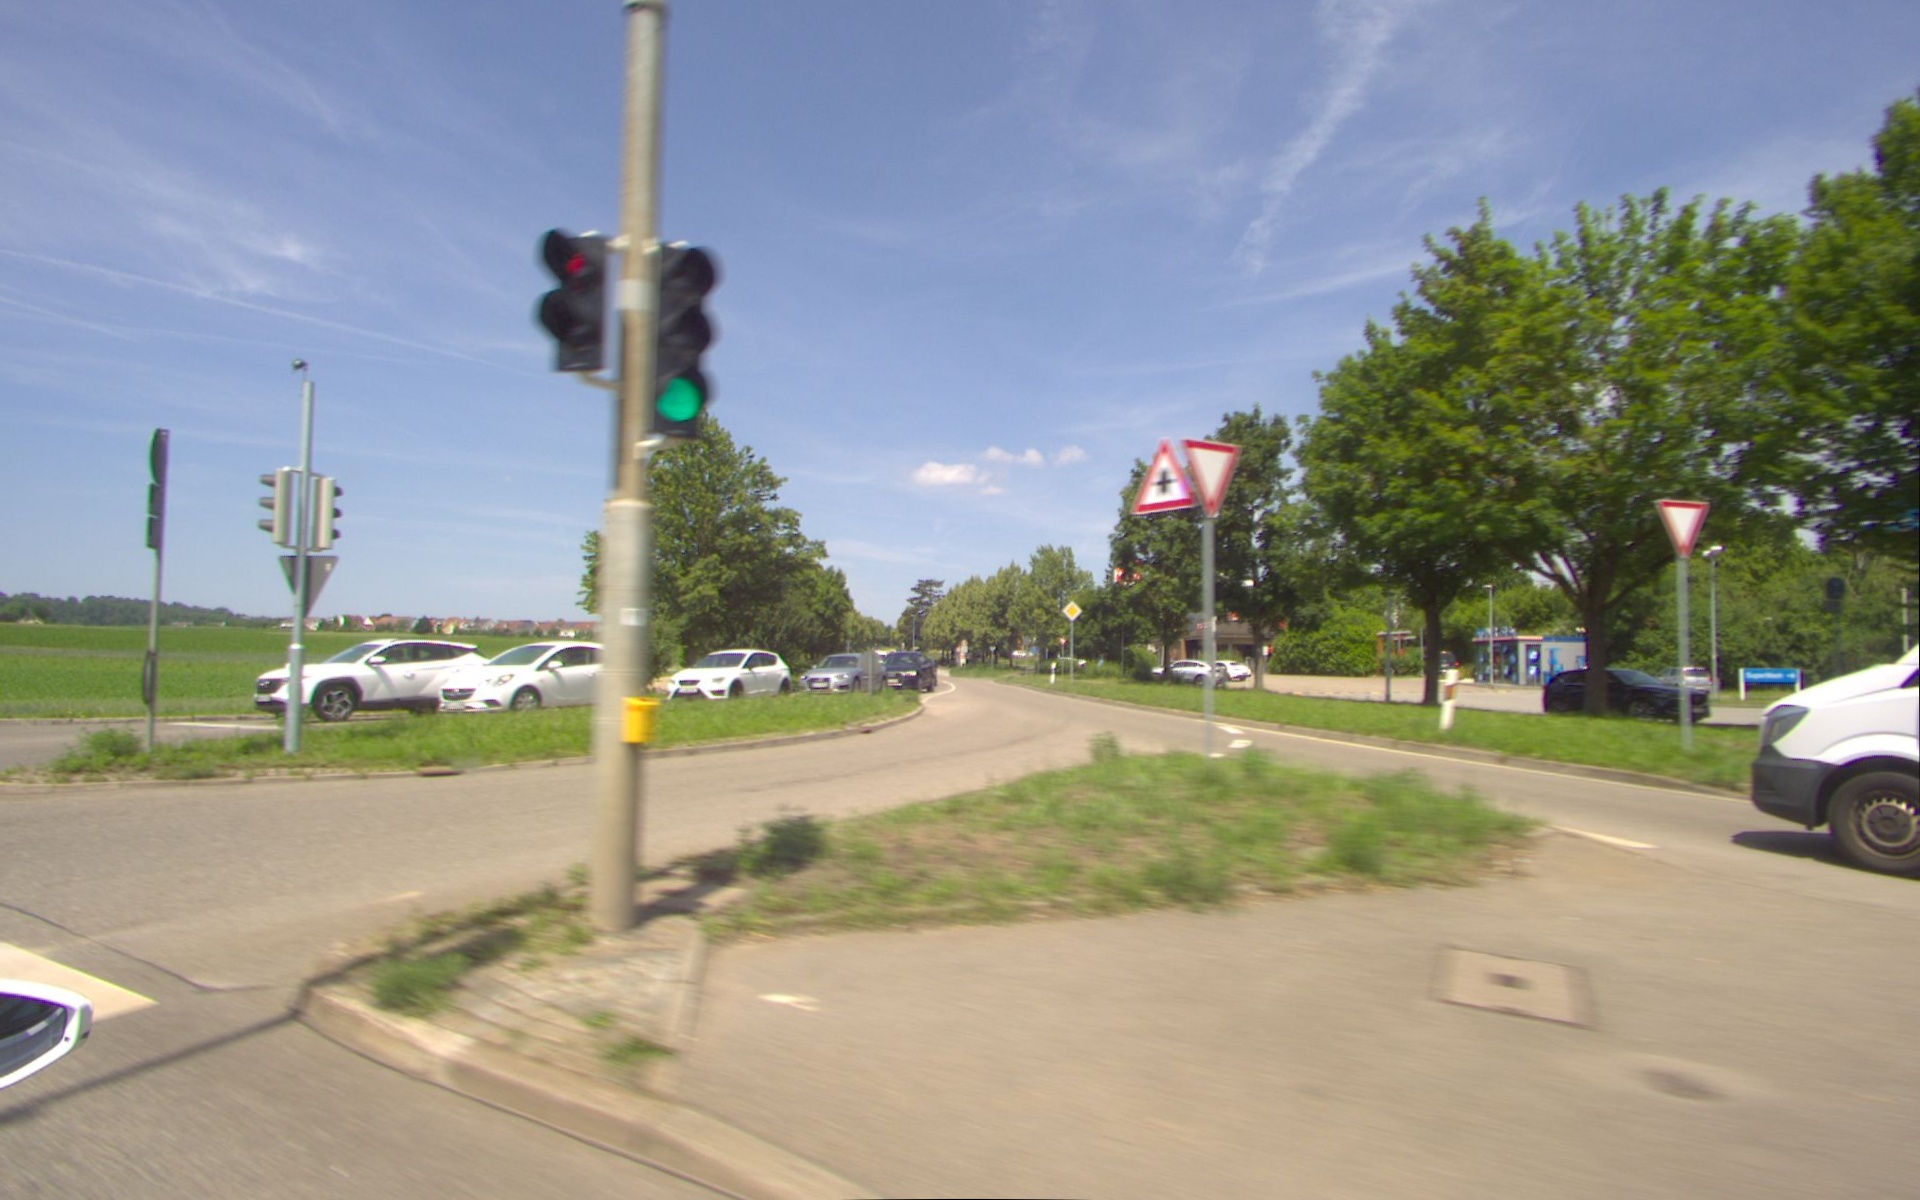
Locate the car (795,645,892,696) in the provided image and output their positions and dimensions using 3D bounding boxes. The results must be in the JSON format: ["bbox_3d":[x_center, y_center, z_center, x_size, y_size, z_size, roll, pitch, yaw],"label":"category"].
[{"bbox_3d":[-3.678,2.293,32.565,1.767,1.528,4.564,-1,-4,12],"label":"car"}]

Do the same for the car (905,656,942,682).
[{"bbox_3d":[-1.920,3.545,51.636,1.766,1.288,4.566,0,-3,-4],"label":"car"}]

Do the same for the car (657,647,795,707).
[{"bbox_3d":[-5.991,1.954,26.150,1.768,1.436,4.103,-1,-3,15],"label":"car"}]

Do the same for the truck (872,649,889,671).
[{"bbox_3d":[-9.831,7.425,123.554,1.962,2.630,4.002,0,-3,-6],"label":"truck"}]

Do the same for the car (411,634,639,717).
[{"bbox_3d":[-8.324,1.444,19.553,1.798,1.436,3.964,-2,-4,23],"label":"car"}]

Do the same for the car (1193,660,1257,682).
[{"bbox_3d":[19.410,5.183,73.569,1.852,1.578,4.478,1,-4,-32],"label":"car"}]

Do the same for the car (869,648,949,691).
[{"bbox_3d":[-1.873,2.698,38.245,1.768,1.528,4.563,-1,-5,14],"label":"car"}]

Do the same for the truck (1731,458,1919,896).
[{"bbox_3d":[7.939,0.512,5.180,2.046,2.770,5.912,5,-3,-30],"label":"truck"}]

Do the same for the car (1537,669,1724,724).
[{"bbox_3d":[19.137,2.713,28.821,1.729,1.379,4.315,1,-3,-18],"label":"car"}]

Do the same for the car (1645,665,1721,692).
[{"bbox_3d":[40.166,4.319,55.764,1.694,1.397,3.844,0,-3,5],"label":"car"}]

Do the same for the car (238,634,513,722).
[{"bbox_3d":[-12.075,1.625,21.043,1.969,1.626,4.623,-2,-5,30],"label":"car"}]

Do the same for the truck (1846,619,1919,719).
[{"bbox_3d":[27.397,1.821,26.063,2.233,2.650,6.115,2,-3,-33],"label":"truck"}]

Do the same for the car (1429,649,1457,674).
[{"bbox_3d":[37.561,4.740,77.811,1.811,1.861,3.985,-1,-2,28],"label":"car"}]
